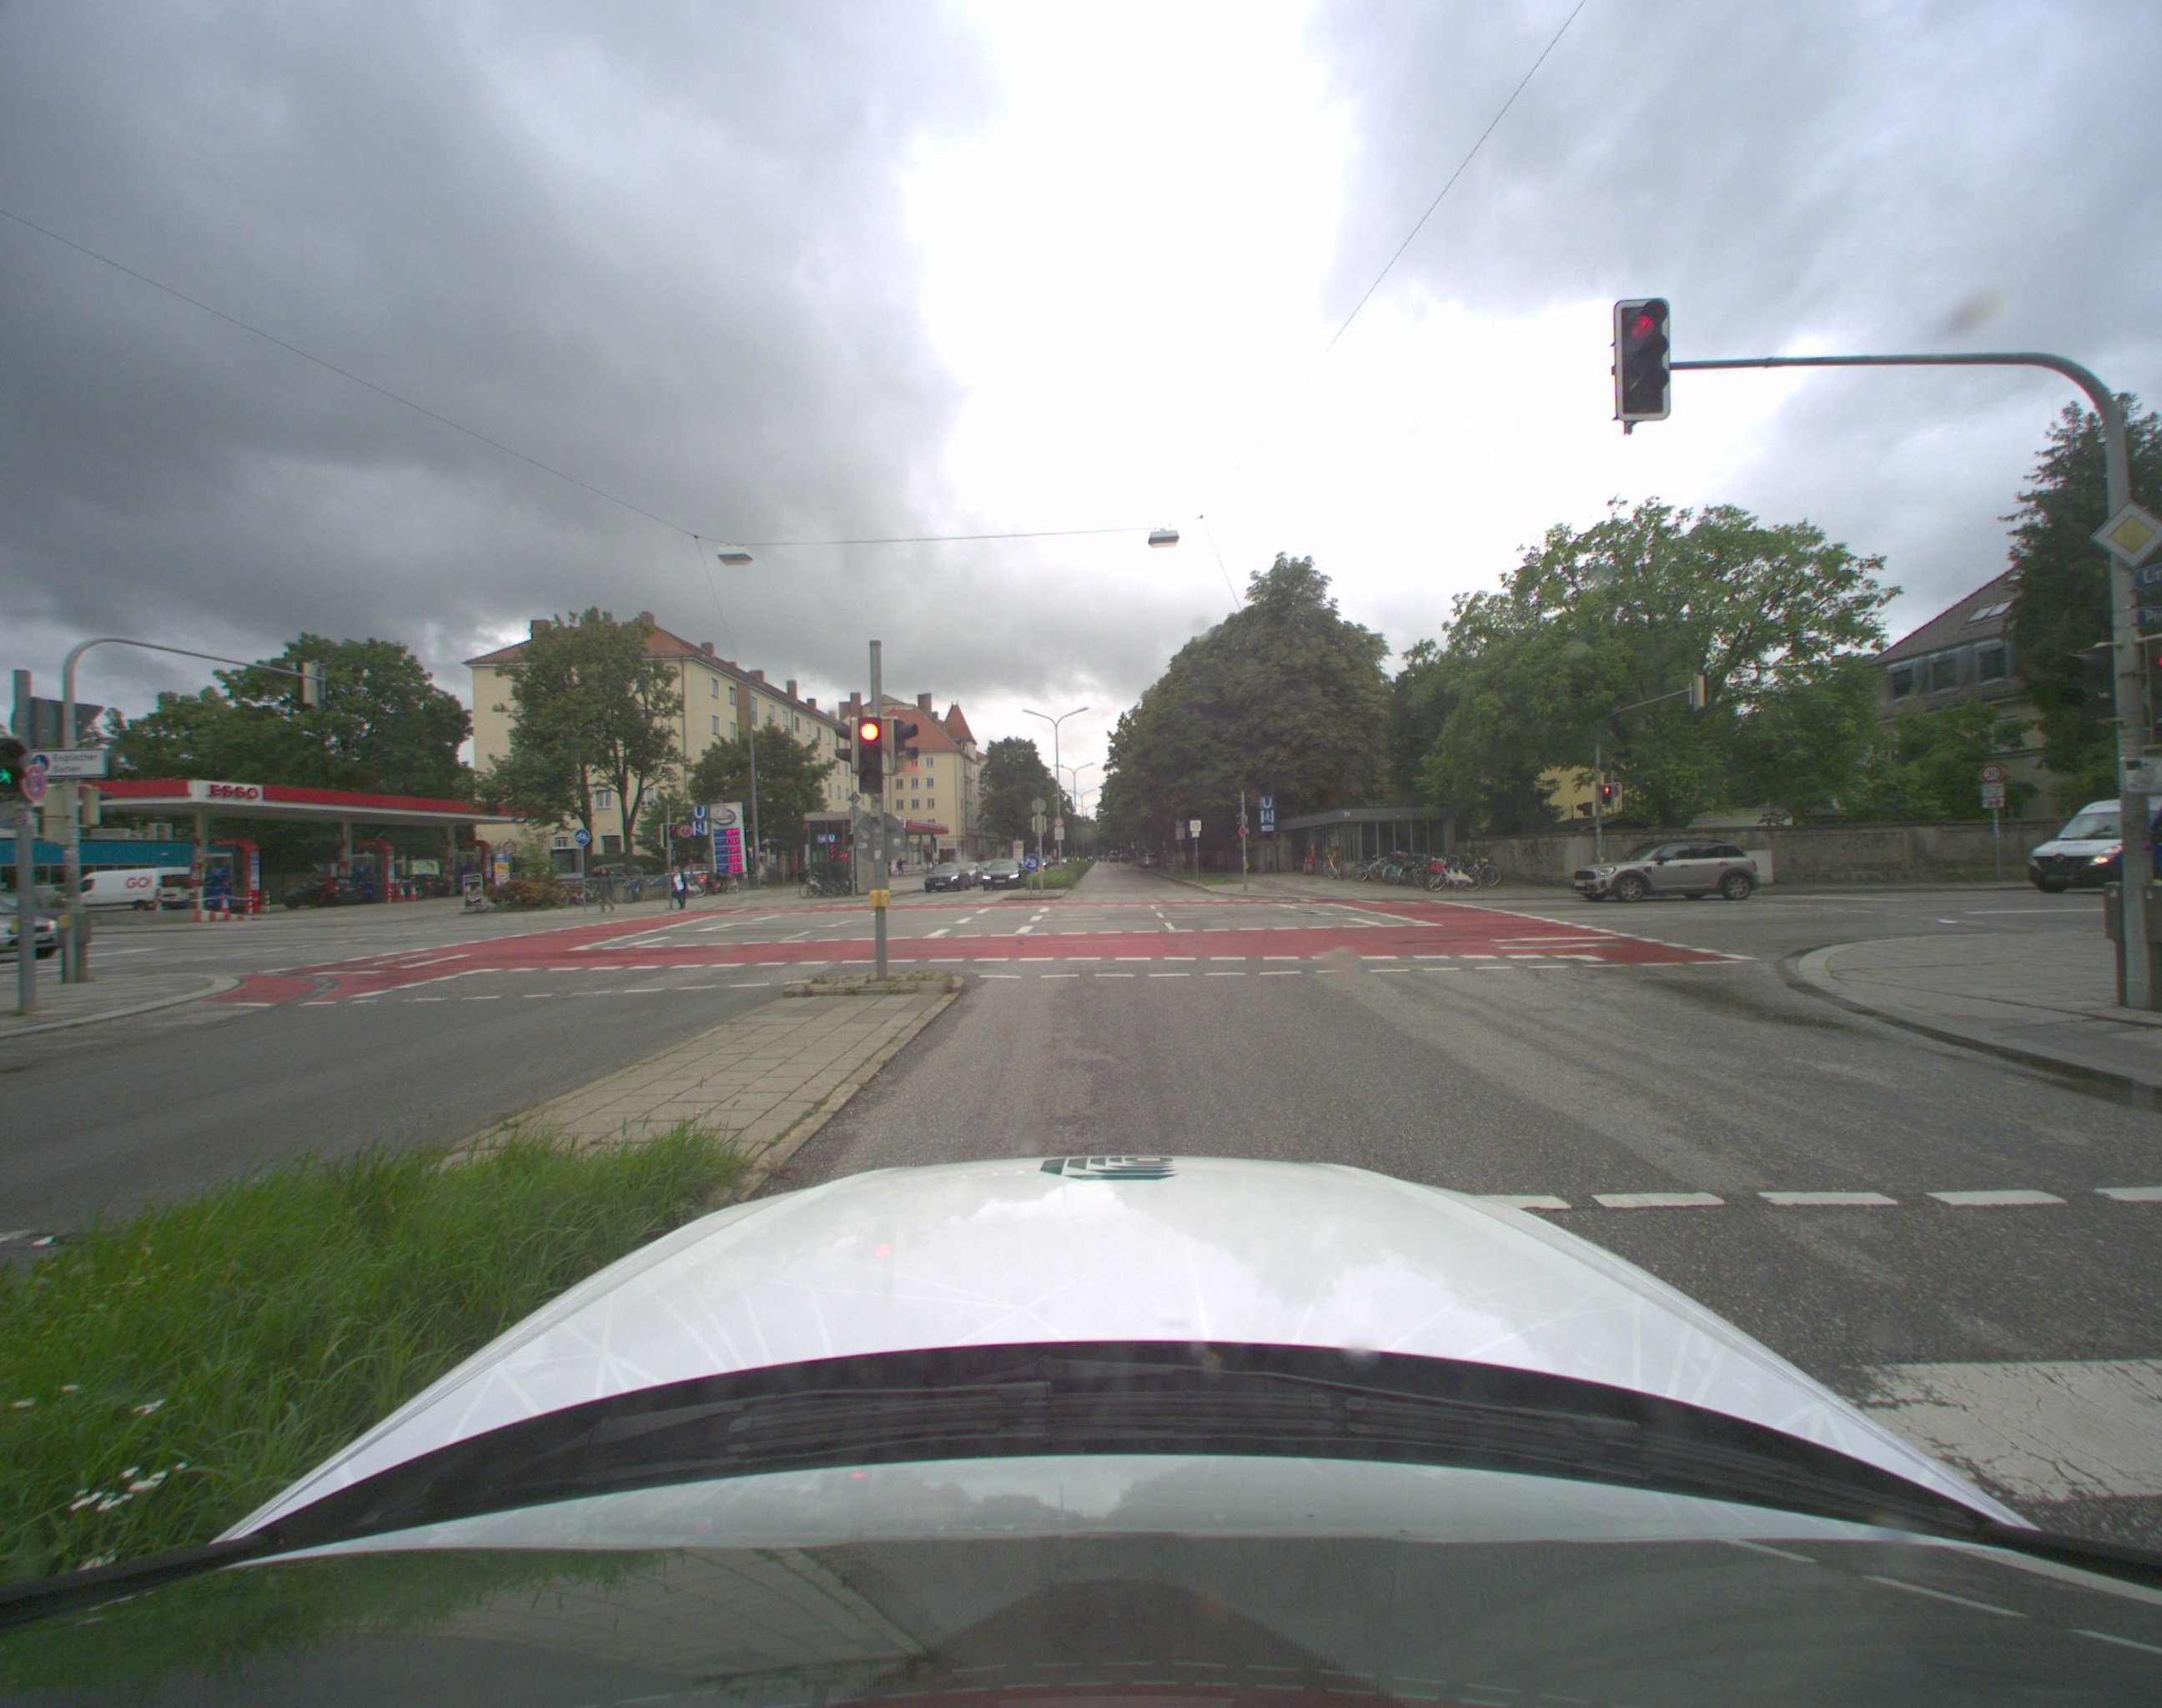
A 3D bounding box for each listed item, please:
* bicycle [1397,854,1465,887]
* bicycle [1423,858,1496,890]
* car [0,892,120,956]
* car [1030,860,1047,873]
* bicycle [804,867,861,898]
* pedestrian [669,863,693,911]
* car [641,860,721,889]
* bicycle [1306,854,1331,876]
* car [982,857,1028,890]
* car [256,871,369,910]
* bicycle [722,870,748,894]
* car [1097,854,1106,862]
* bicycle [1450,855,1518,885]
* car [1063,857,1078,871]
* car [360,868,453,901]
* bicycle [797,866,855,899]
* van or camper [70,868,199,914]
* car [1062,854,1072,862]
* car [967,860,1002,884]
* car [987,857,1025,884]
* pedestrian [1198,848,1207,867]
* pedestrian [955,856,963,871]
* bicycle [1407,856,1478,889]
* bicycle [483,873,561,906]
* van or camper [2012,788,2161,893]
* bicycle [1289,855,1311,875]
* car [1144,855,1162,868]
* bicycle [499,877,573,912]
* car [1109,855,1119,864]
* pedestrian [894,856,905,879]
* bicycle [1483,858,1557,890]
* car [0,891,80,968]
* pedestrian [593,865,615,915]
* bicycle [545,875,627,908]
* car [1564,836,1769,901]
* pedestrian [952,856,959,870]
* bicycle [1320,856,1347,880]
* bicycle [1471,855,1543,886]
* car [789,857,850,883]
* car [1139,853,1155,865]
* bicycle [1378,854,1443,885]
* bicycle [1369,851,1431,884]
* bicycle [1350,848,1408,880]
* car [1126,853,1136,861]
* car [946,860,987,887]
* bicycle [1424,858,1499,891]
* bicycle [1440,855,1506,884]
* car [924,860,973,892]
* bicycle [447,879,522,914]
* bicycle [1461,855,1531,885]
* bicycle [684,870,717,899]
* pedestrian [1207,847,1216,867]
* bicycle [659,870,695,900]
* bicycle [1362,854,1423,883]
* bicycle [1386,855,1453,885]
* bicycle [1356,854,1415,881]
[{"bbox_3d":[12.408,0.581,28.923,2.130,1.101,0.604,-2,0,9],"label":"bicycle"},{"bbox_3d":[12.728,0.663,27.455,2.130,1.014,0.636,-2,0,9],"label":"bicycle"},{"bbox_3d":[-26.264,1.721,19.959,3.532,1.412,1.666,-2,0,3],"label":"car"},{"bbox_3d":[-5.381,1.591,102.908,1.753,1.493,4.001,-2,0,1],"label":"car"},{"bbox_3d":[-10.981,1.250,36.032,2.276,1.304,0.694,-2,0,2],"label":"bicycle"},{"bbox_3d":[-14.598,1.202,29.742,0.533,1.695,0.576,-2,0,-2],"label":"pedestrian"},{"bbox_3d":[-24.542,1.261,50.106,3.950,1.608,1.812,-2,0,-7],"label":"car"},{"bbox_3d":[11.255,0.514,38.683,0.555,1.014,2.015,-2,0,0],"label":"bicycle"},{"bbox_3d":[-3.750,0.931,40.776,1.753,1.493,4.001,-2,0,1],"label":"car"},{"bbox_3d":[-39.519,1.856,41.937,3.973,1.784,1.858,-2,0,1],"label":"car"},{"bbox_3d":[-17.412,1.396,41.011,0.607,1.145,1.962,-2,0,-5],"label":"bicycle"},{"bbox_3d":[4.589,0.810,182.718,1.850,1.684,4.001,-2,0,1],"label":"car"},{"bbox_3d":[14.858,0.580,30.077,2.130,1.014,0.636,-2,0,9],"label":"bicycle"},{"bbox_3d":[-1.075,1.001,85.603,1.463,1.399,3.701,-2,0,1],"label":"car"},{"bbox_3d":[-40.313,1.832,48.717,3.973,1.784,1.858,-2,0,1],"label":"car"},{"bbox_3d":[-11.028,1.224,35.253,2.262,1.304,0.704,-2,0,2],"label":"bicycle"},{"bbox_3d":[-51.876,1.994,44.704,4.526,2.323,1.917,-2,0,-3],"label":"van or camper"},{"bbox_3d":[-2.629,0.755,153.976,1.753,1.460,4.001,-2,0,1],"label":"car"},{"bbox_3d":[-6.498,1.205,55.340,1.753,1.460,4.001,-2,0,1],"label":"car"},{"bbox_3d":[-4.428,0.960,48.442,1.753,1.493,4.001,-2,0,1],"label":"car"},{"bbox_3d":[10.538,0.304,70.574,0.674,1.682,0.684,-2,0,7],"label":"pedestrian"},{"bbox_3d":[-13.567,1.019,90.884,0.693,1.638,0.738,-2,0,1],"label":"pedestrian"},{"bbox_3d":[12.529,0.647,28.265,2.130,1.071,0.604,-2,0,9],"label":"bicycle"},{"bbox_3d":[-21.887,1.390,31.926,2.394,1.251,0.789,0,-1,-10],"label":"bicycle"},{"bbox_3d":[27.476,-0.392,20.462,5.529,2.469,2.069,-2,0,3],"label":"van or camper"},{"bbox_3d":[11.324,0.546,42.103,0.555,1.014,2.015,-2,0,0],"label":"bicycle"},{"bbox_3d":[7.896,0.811,89.711,1.737,1.363,3.807,-2,0,1],"label":"car"},{"bbox_3d":[-20.899,1.550,31.267,2.180,1.236,0.763,-2,0,-10],"label":"bicycle"},{"bbox_3d":[6.634,1.069,163.192,1.916,1.684,4.001,-2,0,1],"label":"car"},{"bbox_3d":[-15.941,1.197,71.586,0.727,2.014,0.835,0,-1,1],"label":"pedestrian"},{"bbox_3d":[14.921,0.663,27.715,2.130,1.014,0.636,-2,0,9],"label":"bicycle"},{"bbox_3d":[-24.174,1.647,17.303,3.609,1.517,1.663,-2,0,-2],"label":"car"},{"bbox_3d":[-16.685,1.242,28.504,0.593,1.695,0.571,-2,0,-29],"label":"pedestrian"},{"bbox_3d":[-19.593,1.476,32.324,2.720,1.251,0.786,0,-1,-29],"label":"bicycle"},{"bbox_3d":[15.399,0.371,21.577,4.151,1.514,1.697,-2,0,3],"label":"car"},{"bbox_3d":[-15.884,1.143,102.811,0.693,1.638,0.738,-2,0,1],"label":"pedestrian"},{"bbox_3d":[11.127,0.605,35.950,0.555,1.014,2.015,-2,0,0],"label":"bicycle"},{"bbox_3d":[14.890,0.569,28.514,2.130,1.014,0.636,-2,0,9],"label":"bicycle"},{"bbox_3d":[-19.989,1.204,62.395,3.976,1.838,1.879,-2,0,-2],"label":"car"},{"bbox_3d":[8.096,0.642,99.796,1.737,1.363,3.807,-2,0,1],"label":"car"},{"bbox_3d":[12.279,0.561,30.370,2.130,1.086,0.604,-2,0,9],"label":"bicycle"},{"bbox_3d":[12.168,0.519,31.111,2.130,1.178,0.604,-2,0,9],"label":"bicycle"},{"bbox_3d":[12.229,0.406,33.414,2.130,1.218,0.604,-2,0,9],"label":"bicycle"},{"bbox_3d":[9.802,0.552,159.308,1.737,1.427,3.900,-2,0,1],"label":"car"},{"bbox_3d":[-6.816,1.148,48.679,1.753,1.460,4.001,-2,0,1],"label":"car"},{"bbox_3d":[12.511,0.679,26.835,2.130,1.014,0.604,-2,0,9],"label":"bicycle"},{"bbox_3d":[14.827,0.585,30.863,2.130,1.014,0.636,-2,0,9],"label":"bicycle"},{"bbox_3d":[-6.724,1.089,41.745,1.753,1.460,4.001,-2,0,1],"label":"car"},{"bbox_3d":[-22.833,1.621,31.215,2.179,1.236,0.764,-2,0,-8],"label":"bicycle"},{"bbox_3d":[14.917,0.576,29.282,2.130,1.014,0.636,-2,0,9],"label":"bicycle"},{"bbox_3d":[-17.187,1.352,36.858,0.607,1.236,2.183,-2,0,-5],"label":"bicycle"},{"bbox_3d":[11.341,0.274,70.632,0.674,1.682,0.684,-2,0,7],"label":"pedestrian"},{"bbox_3d":[-17.867,1.369,36.043,0.607,1.236,2.183,-2,0,-5],"label":"bicycle"},{"bbox_3d":[12.159,0.582,31.813,2.130,1.062,0.604,-2,0,9],"label":"bicycle"},{"bbox_3d":[12.299,0.593,29.640,2.130,1.014,0.604,-2,0,9],"label":"bicycle"},{"bbox_3d":[12.211,0.524,32.694,2.130,1.014,0.604,-2,0,9],"label":"bicycle"}]
